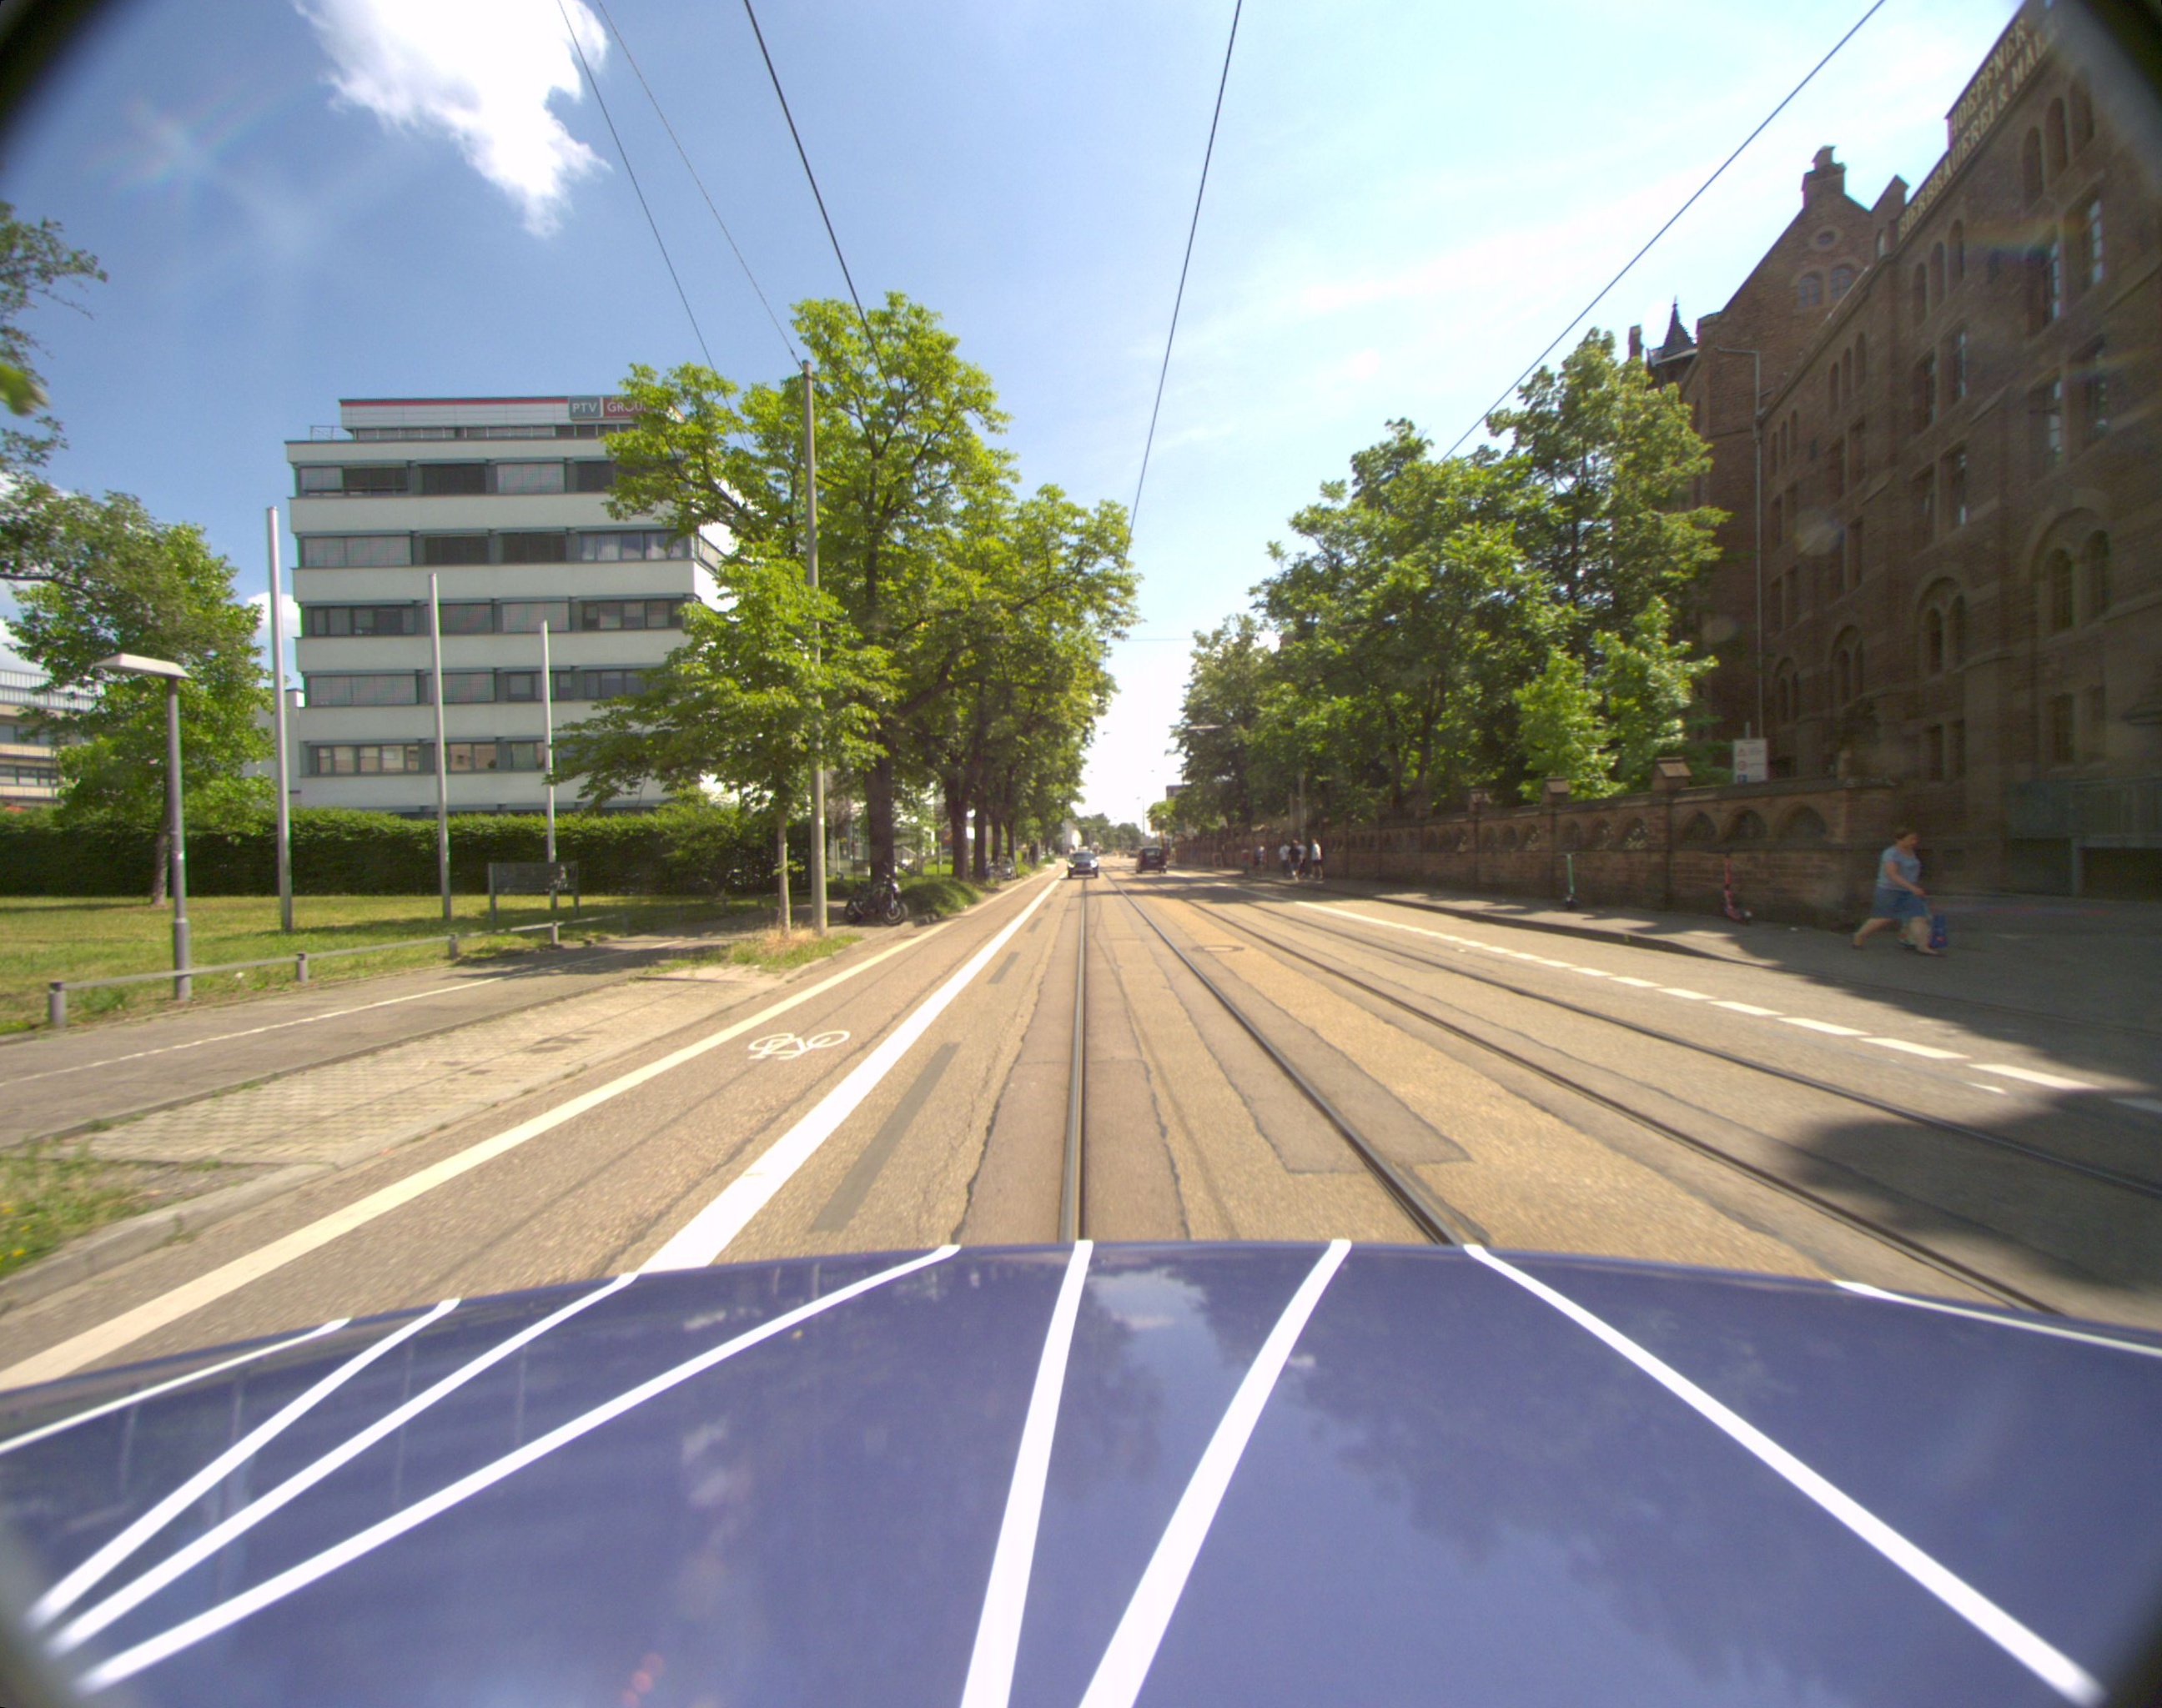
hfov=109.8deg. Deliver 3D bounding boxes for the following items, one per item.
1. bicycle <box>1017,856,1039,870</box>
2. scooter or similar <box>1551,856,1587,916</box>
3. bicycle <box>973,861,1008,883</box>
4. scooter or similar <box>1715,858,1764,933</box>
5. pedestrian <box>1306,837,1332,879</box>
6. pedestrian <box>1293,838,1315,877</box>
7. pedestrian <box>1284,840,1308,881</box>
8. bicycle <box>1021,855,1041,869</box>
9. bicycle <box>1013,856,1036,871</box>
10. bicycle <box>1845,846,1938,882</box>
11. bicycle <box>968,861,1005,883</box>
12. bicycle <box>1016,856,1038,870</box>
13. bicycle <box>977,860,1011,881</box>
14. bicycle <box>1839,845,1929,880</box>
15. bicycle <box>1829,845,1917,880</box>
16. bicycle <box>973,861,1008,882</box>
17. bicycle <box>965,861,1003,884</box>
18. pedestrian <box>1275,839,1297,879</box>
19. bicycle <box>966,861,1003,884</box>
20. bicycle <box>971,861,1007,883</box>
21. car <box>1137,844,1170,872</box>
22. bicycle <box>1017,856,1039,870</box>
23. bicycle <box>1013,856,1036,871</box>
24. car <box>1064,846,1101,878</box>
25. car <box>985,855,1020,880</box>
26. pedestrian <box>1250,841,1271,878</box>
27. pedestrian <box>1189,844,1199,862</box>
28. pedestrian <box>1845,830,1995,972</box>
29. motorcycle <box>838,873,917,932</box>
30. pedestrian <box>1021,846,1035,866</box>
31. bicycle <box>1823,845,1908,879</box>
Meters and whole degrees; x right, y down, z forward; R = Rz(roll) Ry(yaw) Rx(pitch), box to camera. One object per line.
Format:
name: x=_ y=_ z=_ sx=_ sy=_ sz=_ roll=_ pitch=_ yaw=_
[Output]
bicycle: x=-4.489 y=0.775 z=64.427 sx=1.813 sy=1.105 sz=0.569 roll=-3 pitch=1 yaw=-3
scooter or similar: x=10.129 y=0.644 z=15.752 sx=0.348 sy=1.120 sz=1.227 roll=-2 pitch=2 yaw=44
bicycle: x=-4.791 y=0.932 z=40.166 sx=1.813 sy=1.105 sz=0.533 roll=-1 pitch=1 yaw=-8
scooter or similar: x=10.627 y=0.650 z=12.292 sx=0.328 sy=1.120 sz=1.225 roll=-2 pitch=1 yaw=29
pedestrian: x=10.508 y=0.170 z=33.553 sx=0.754 sy=1.766 sz=0.919 roll=-4 pitch=1 yaw=0
pedestrian: x=10.510 y=0.171 z=35.826 sx=0.679 sy=1.766 sz=0.919 roll=-4 pitch=1 yaw=0
pedestrian: x=9.455 y=0.265 z=33.456 sx=0.679 sy=1.738 sz=0.919 roll=-4 pitch=1 yaw=0
bicycle: x=-4.606 y=0.737 z=69.956 sx=1.819 sy=1.158 sz=0.710 roll=-1 pitch=1 yaw=-7
bicycle: x=-4.723 y=0.799 z=63.787 sx=1.813 sy=1.105 sz=0.569 roll=-3 pitch=1 yaw=-3
bicycle: x=23.730 y=0.293 z=22.276 sx=1.779 sy=0.988 sz=0.493 roll=-2 pitch=1 yaw=35
bicycle: x=-4.798 y=0.926 z=38.636 sx=1.812 sy=1.105 sz=0.395 roll=-1 pitch=1 yaw=-2
bicycle: x=-4.711 y=0.784 z=66.169 sx=1.813 sy=1.105 sz=0.569 roll=-3 pitch=1 yaw=-3
bicycle: x=-4.720 y=0.911 z=41.437 sx=1.813 sy=1.105 sz=0.514 roll=-1 pitch=1 yaw=-3
bicycle: x=24.030 y=0.263 z=22.771 sx=1.779 sy=0.988 sz=0.493 roll=-2 pitch=1 yaw=35
bicycle: x=24.236 y=0.265 z=23.280 sx=1.779 sy=0.988 sz=0.493 roll=-2 pitch=1 yaw=35
bicycle: x=-4.857 y=0.927 z=40.786 sx=1.813 sy=1.105 sz=0.535 roll=-1 pitch=1 yaw=-8
bicycle: x=-4.820 y=0.938 z=37.805 sx=1.812 sy=1.105 sz=0.449 roll=-1 pitch=1 yaw=-2
pedestrian: x=9.609 y=0.226 z=35.664 sx=0.679 sy=1.780 sz=0.919 roll=-4 pitch=1 yaw=0
bicycle: x=-4.829 y=0.936 z=38.236 sx=1.813 sy=1.105 sz=0.395 roll=-1 pitch=1 yaw=-3
bicycle: x=-4.793 y=0.926 z=39.509 sx=1.814 sy=1.105 sz=0.489 roll=-1 pitch=1 yaw=-13
car: x=4.896 y=0.249 z=51.832 sx=1.909 sy=1.778 sz=4.255 roll=-1 pitch=0 yaw=0
bicycle: x=-4.553 y=0.781 z=64.995 sx=1.813 sy=1.105 sz=0.569 roll=-3 pitch=1 yaw=-3
bicycle: x=-4.711 y=0.803 z=63.106 sx=1.846 sy=1.105 sz=0.569 roll=-3 pitch=1 yaw=-3
car: x=0.106 y=0.460 z=45.339 sx=1.998 sy=1.732 sz=4.226 roll=-3 pitch=0 yaw=0
car: x=-4.787 y=0.788 z=46.879 sx=1.681 sy=1.458 sz=4.634 roll=0 pitch=0 yaw=0
pedestrian: x=8.980 y=0.257 z=37.981 sx=0.723 sy=1.781 sz=0.919 roll=-4 pitch=1 yaw=0
pedestrian: x=10.915 y=-0.085 z=73.326 sx=0.750 sy=1.738 sz=0.919 roll=-4 pitch=1 yaw=0
pedestrian: x=10.186 y=0.539 z=9.265 sx=0.801 sy=1.580 sz=0.919 roll=-4 pitch=3 yaw=0
motorcycle: x=-4.663 y=1.075 z=17.305 sx=2.056 sy=1.206 sz=0.614 roll=0 pitch=2 yaw=40
pedestrian: x=-4.922 y=0.151 z=70.344 sx=0.986 sy=1.822 sz=0.786 roll=-3 pitch=1 yaw=-43
bicycle: x=24.580 y=0.255 z=23.848 sx=1.779 sy=0.988 sz=0.493 roll=-2 pitch=1 yaw=35
